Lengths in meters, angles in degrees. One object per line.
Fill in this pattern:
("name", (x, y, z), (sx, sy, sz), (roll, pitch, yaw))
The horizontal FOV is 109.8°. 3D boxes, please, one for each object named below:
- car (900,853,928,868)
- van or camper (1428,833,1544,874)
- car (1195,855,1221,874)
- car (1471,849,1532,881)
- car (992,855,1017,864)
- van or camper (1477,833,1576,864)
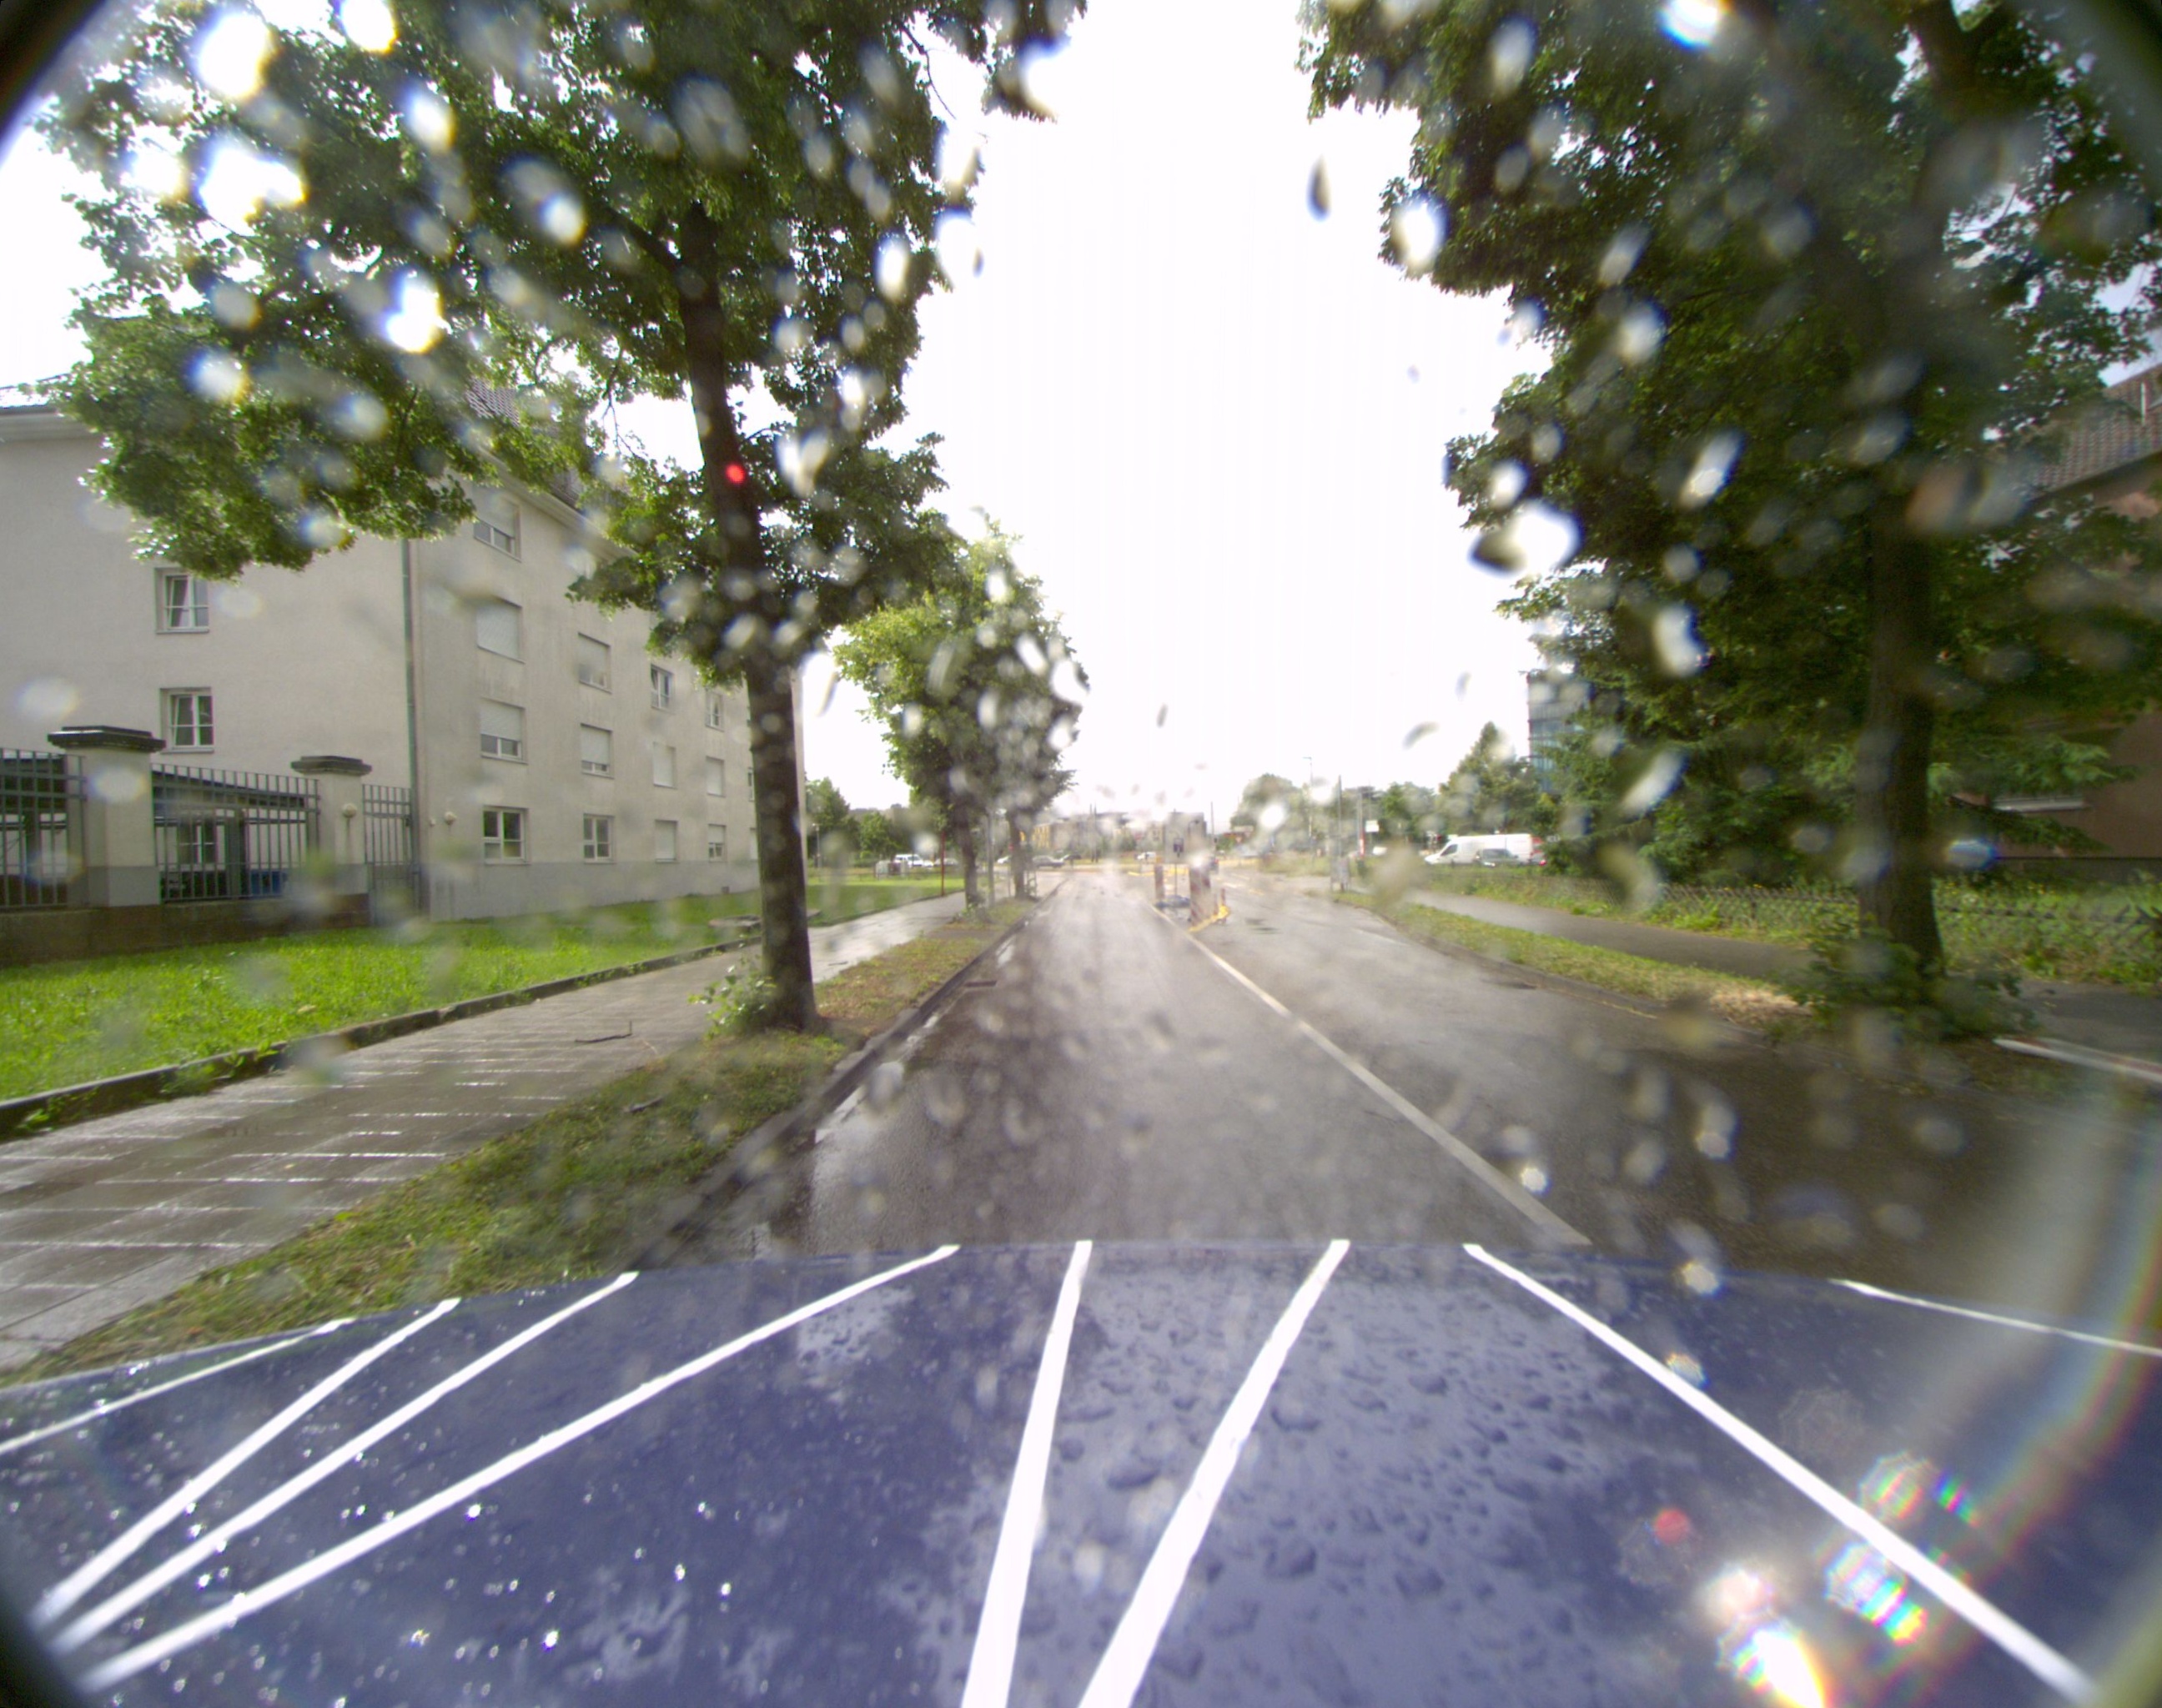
("car", (-19.919, 0.765, 90.556), (1.896, 1.703, 4.219), (-1, 0, -33))
("van or camper", (28.198, 0.014, 53.051), (6.964, 2.632, 2.516), (-1, 0, 32))
("car", (10.400, 0.862, 62.426), (1.683, 1.499, 3.794), (-1, 0, 4))
("car", (23.092, 0.554, 41.883), (1.757, 1.608, 4.331), (-2, 0, 12))
("car", (-13.642, 0.989, 135.145), (4.124, 1.521, 1.665), (-2, 0, -30))
("van or camper", (33.988, -0.387, 58.112), (6.382, 2.175, 2.445), (-1, 0, 32))
